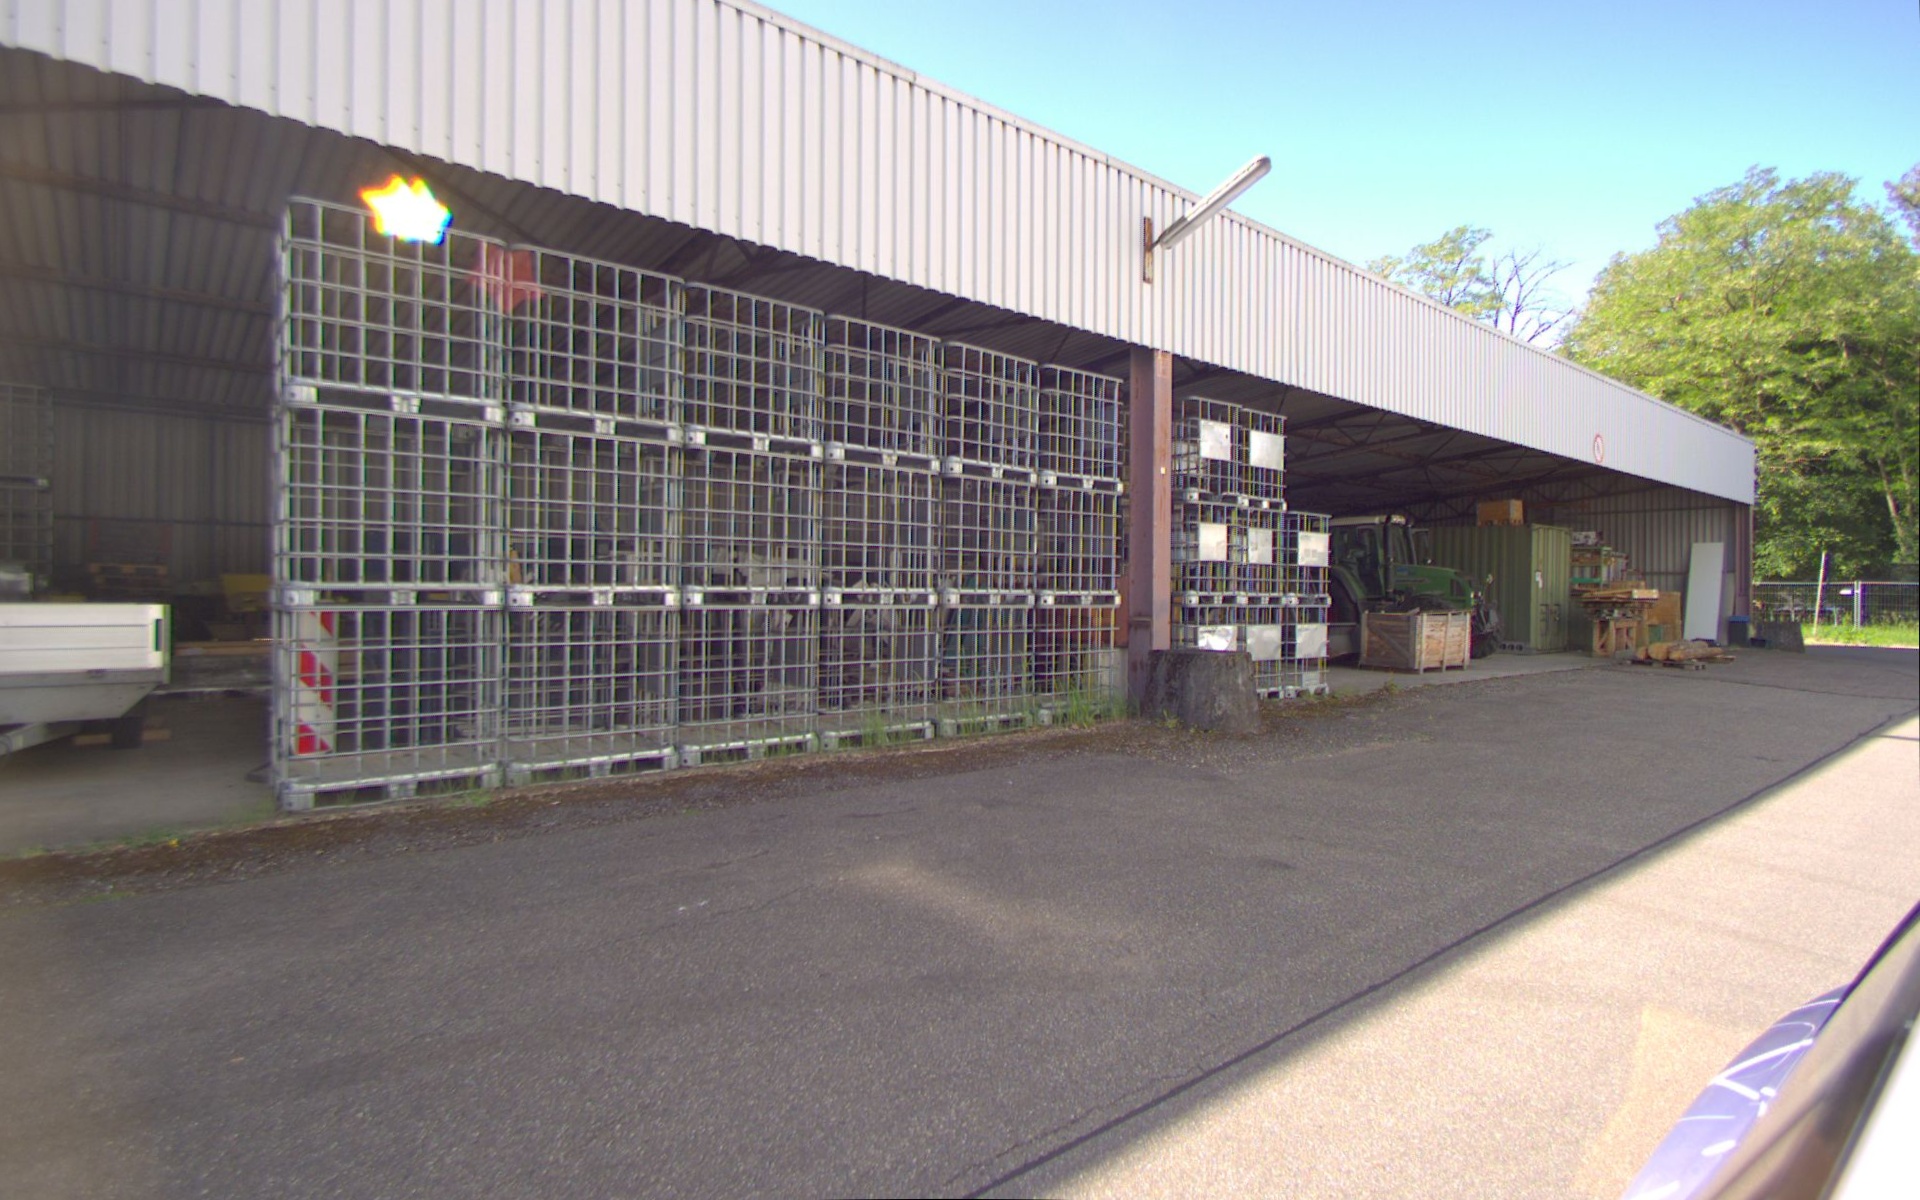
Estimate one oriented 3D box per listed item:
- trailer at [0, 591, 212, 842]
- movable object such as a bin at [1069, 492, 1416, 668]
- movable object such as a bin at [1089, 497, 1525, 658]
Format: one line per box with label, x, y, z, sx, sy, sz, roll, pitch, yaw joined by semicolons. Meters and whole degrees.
trailer;-6.746;0.546;6.940;2.104;1.147;5.857;0;1;-41
movable object such as a bin;5.438;-0.367;20.383;2.962;2.947;6.199;0;0;-39
movable object such as a bin;7.375;-0.452;23.131;3.154;2.947;9.213;0;0;-39
